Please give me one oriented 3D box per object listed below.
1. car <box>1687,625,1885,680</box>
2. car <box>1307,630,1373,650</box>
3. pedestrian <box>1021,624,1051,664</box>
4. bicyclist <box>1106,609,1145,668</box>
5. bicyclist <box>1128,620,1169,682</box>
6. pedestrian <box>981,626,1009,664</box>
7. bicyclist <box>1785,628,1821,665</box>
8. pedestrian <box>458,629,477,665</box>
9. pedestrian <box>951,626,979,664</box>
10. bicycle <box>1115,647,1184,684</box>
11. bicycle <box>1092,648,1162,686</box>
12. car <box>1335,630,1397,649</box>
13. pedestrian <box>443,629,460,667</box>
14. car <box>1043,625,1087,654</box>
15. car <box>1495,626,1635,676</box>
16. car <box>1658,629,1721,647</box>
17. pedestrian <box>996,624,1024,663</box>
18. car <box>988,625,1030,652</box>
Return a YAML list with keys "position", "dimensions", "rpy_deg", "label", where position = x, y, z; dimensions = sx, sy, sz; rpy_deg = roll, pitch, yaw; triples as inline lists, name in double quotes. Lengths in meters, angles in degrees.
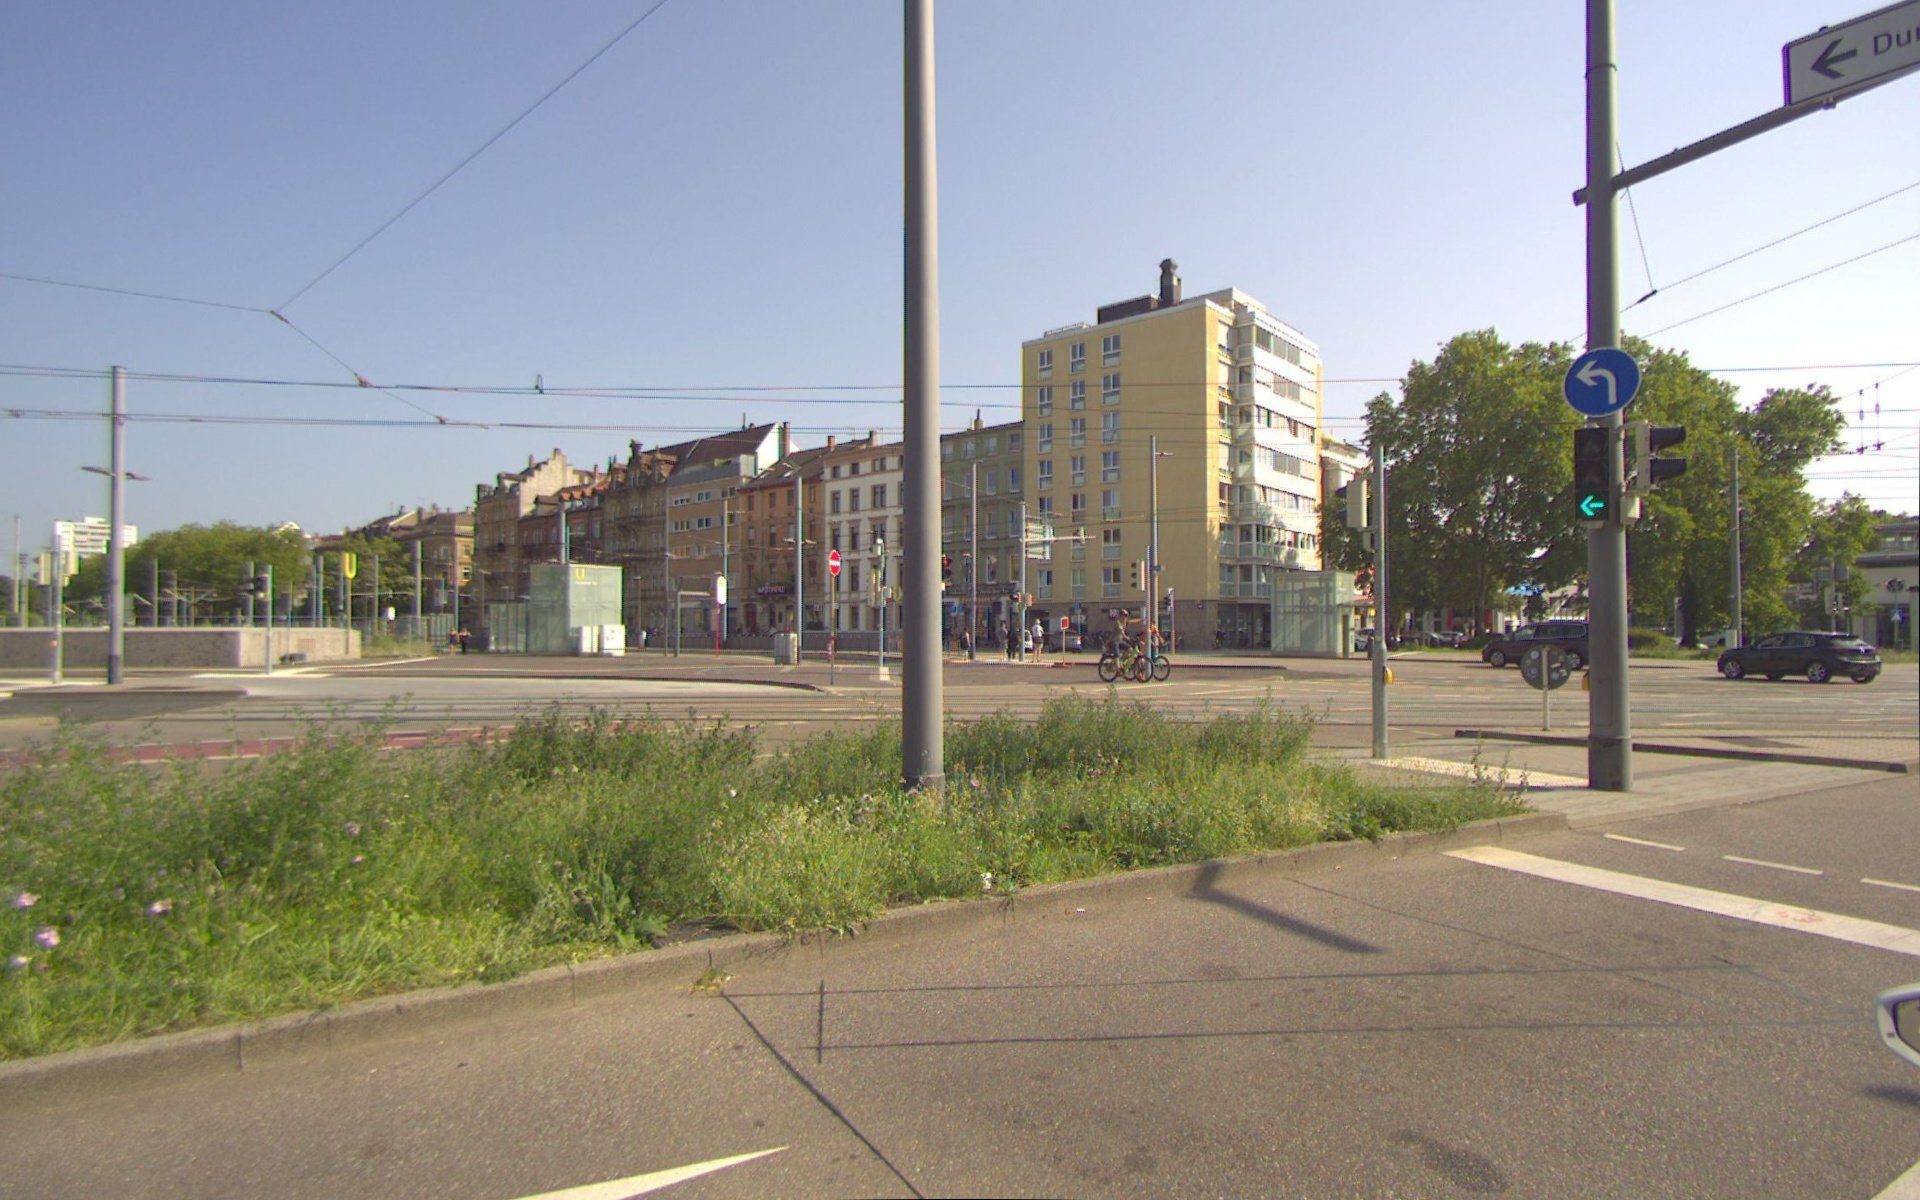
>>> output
- position: [24.109, 1.492, 29.559]
  dimensions: [1.660, 1.511, 4.360]
  rpy_deg: [0, -2, -15]
  label: "car"
- position: [26.734, 2.807, 70.764]
  dimensions: [4.106, 1.372, 1.571]
  rpy_deg: [-1, -2, 39]
  label: "car"
- position: [3.341, 1.936, 44.145]
  dimensions: [0.911, 1.712, 0.918]
  rpy_deg: [0, -1, 40]
  label: "pedestrian"
- position: [4.435, 1.013, 26.920]
  dimensions: [0.721, 1.547, 0.786]
  rpy_deg: [1, -2, -44]
  label: "bicyclist"
- position: [5.210, 1.406, 27.741]
  dimensions: [0.721, 1.674, 0.873]
  rpy_deg: [1, -2, -44]
  label: "bicyclist"
- position: [1.632, 2.046, 46.155]
  dimensions: [0.911, 1.712, 0.918]
  rpy_deg: [0, -1, 40]
  label: "pedestrian"
- position: [36.373, 1.988, 43.344]
  dimensions: [1.150, 1.547, 0.955]
  rpy_deg: [-1, -2, 44]
  label: "bicyclist"
- position: [-24.779, 2.349, 50.556]
  dimensions: [0.745, 1.806, 0.700]
  rpy_deg: [1, -1, -36]
  label: "pedestrian"
- position: [0.210, 2.073, 46.269]
  dimensions: [0.911, 1.712, 0.918]
  rpy_deg: [0, -1, 40]
  label: "pedestrian"
- position: [5.216, 1.791, 27.735]
  dimensions: [0.721, 0.944, 1.795]
  rpy_deg: [1, -2, -43]
  label: "bicycle"
- position: [4.463, 1.763, 26.882]
  dimensions: [0.721, 0.944, 1.795]
  rpy_deg: [1, -2, -43]
  label: "bicycle"
- position: [31.037, 2.988, 76.826]
  dimensions: [4.106, 1.372, 1.571]
  rpy_deg: [-1, -2, 39]
  label: "car"
- position: [-25.349, 2.374, 50.030]
  dimensions: [0.646, 1.891, 0.714]
  rpy_deg: [1, -1, -36]
  label: "pedestrian"
- position: [6.481, 2.444, 62.529]
  dimensions: [1.962, 1.701, 4.548]
  rpy_deg: [1, -1, -4]
  label: "car"
- position: [22.187, 1.845, 37.046]
  dimensions: [1.801, 1.736, 4.399]
  rpy_deg: [0, -2, -16]
  label: "car"
- position: [65.056, 3.400, 89.634]
  dimensions: [4.426, 1.543, 1.705]
  rpy_deg: [1, -1, -1]
  label: "car"
- position: [2.248, 1.952, 45.239]
  dimensions: [0.911, 1.712, 0.918]
  rpy_deg: [0, -1, 40]
  label: "pedestrian"
- position: [3.182, 2.497, 65.778]
  dimensions: [1.963, 1.701, 4.545]
  rpy_deg: [1, -1, -8]
  label: "car"
